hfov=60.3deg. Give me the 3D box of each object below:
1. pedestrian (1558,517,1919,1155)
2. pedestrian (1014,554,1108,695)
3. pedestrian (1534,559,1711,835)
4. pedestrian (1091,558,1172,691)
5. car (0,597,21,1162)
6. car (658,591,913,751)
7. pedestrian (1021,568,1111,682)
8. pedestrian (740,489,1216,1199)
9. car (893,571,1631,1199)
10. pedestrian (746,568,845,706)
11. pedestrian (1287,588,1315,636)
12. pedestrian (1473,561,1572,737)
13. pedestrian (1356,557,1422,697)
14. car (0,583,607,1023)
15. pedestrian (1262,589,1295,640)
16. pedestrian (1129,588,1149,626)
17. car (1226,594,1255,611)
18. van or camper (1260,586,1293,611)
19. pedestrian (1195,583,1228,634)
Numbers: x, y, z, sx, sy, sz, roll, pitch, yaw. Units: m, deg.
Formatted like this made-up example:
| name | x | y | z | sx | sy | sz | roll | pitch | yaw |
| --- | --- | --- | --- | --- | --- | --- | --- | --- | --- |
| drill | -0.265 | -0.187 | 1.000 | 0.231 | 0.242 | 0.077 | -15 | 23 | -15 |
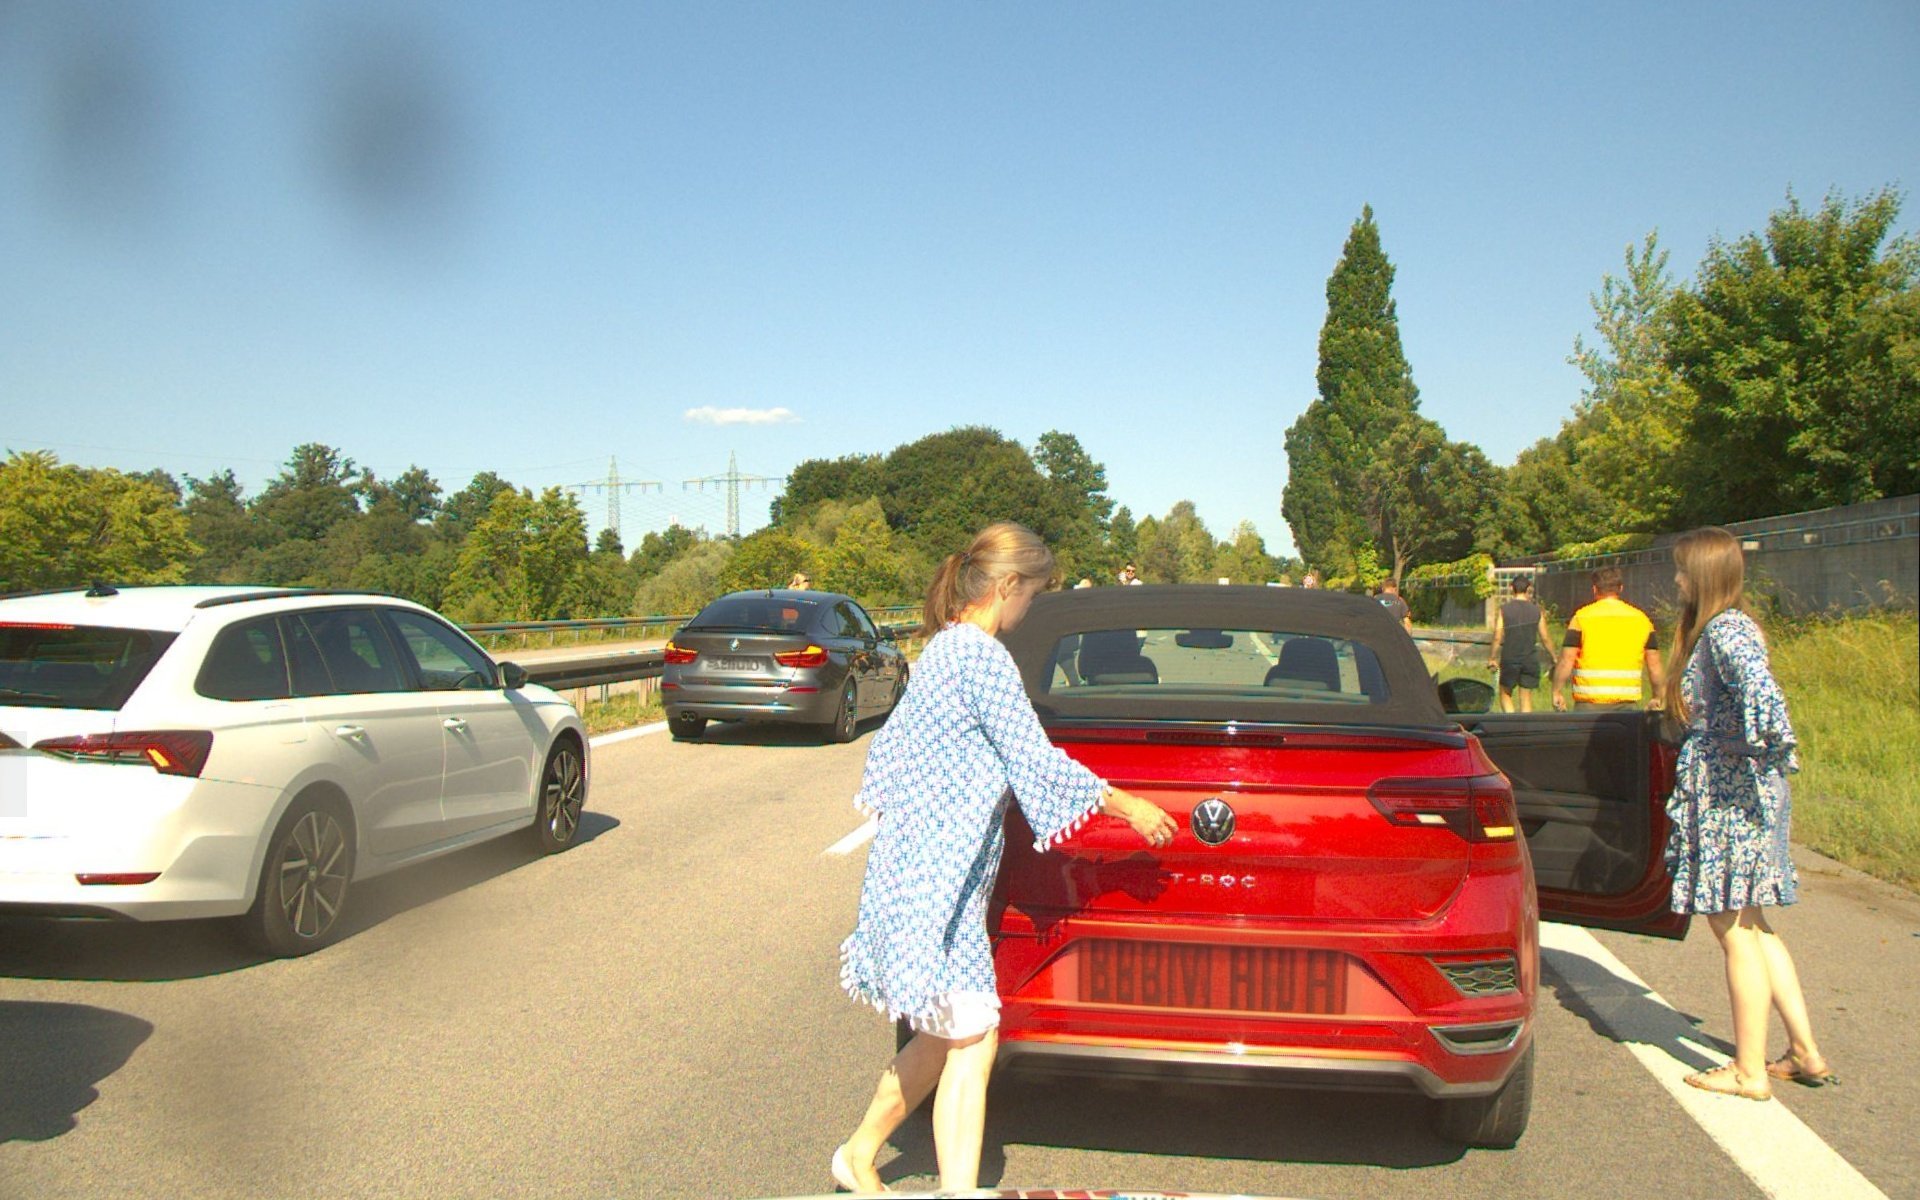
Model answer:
| name | x | y | z | sx | sy | sz | roll | pitch | yaw |
| --- | --- | --- | --- | --- | --- | --- | --- | --- | --- |
| pedestrian | 2.454 | 0.637 | 4.946 | 1.101 | 1.725 | 0.893 | -1 | 0 | 10 |
| pedestrian | 1.421 | 0.333 | 23.116 | 1.043 | 1.916 | 1.094 | -1 | 0 | 18 |
| pedestrian | 4.308 | 0.594 | 10.857 | 0.937 | 1.682 | 1.279 | -1 | 0 | 16 |
| pedestrian | 2.568 | 0.360 | 24.884 | 1.083 | 1.946 | 1.257 | -1 | 0 | 1 |
| car | -3.432 | 0.771 | 2.277 | 1.751 | 1.519 | 4.492 | -1 | 0 | -1 |
| car | -1.685 | 0.640 | 17.462 | 1.658 | 1.451 | 4.337 | 1 | 0 | 8 |
| pedestrian | 1.732 | 0.402 | 27.035 | 1.073 | 1.820 | 1.100 | 1 | 0 | -23 |
| pedestrian | 0.058 | 0.638 | 3.764 | 0.823 | 1.712 | 0.742 | 0 | 0 | 30 |
| car | 0.983 | 0.689 | 5.995 | 1.695 | 1.513 | 4.214 | 1 | 0 | 8 |
| pedestrian | -2.189 | 0.485 | 22.086 | 1.018 | 1.794 | 1.119 | -1 | 0 | 11 |
| pedestrian | 12.541 | 0.435 | 60.850 | 0.975 | 1.719 | 1.011 | 1 | 0 | 13 |
| pedestrian | 5.787 | 0.487 | 17.045 | 0.875 | 1.755 | 0.755 | 1 | 0 | 14 |
| pedestrian | 5.633 | 0.342 | 21.690 | 0.794 | 1.790 | 0.828 | 1 | 0 | 15 |
| car | -3.211 | 0.670 | 7.779 | 1.658 | 1.466 | 4.214 | 1 | 0 | 8 |
| pedestrian | 10.937 | 0.492 | 56.762 | 1.033 | 1.719 | 1.018 | 1 | 0 | 15 |
| pedestrian | 8.230 | 0.327 | 76.081 | 0.774 | 1.719 | 0.793 | 1 | 0 | 13 |
| car | 26.693 | 0.213 | 157.317 | 1.698 | 1.513 | 4.208 | 1 | 0 | 24 |
| van or camper | 29.772 | -0.135 | 155.475 | 1.954 | 2.356 | 4.467 | 1 | 0 | 25 |
| pedestrian | 8.742 | 0.289 | 57.554 | 1.090 | 1.719 | 0.974 | 1 | 0 | 10 |
